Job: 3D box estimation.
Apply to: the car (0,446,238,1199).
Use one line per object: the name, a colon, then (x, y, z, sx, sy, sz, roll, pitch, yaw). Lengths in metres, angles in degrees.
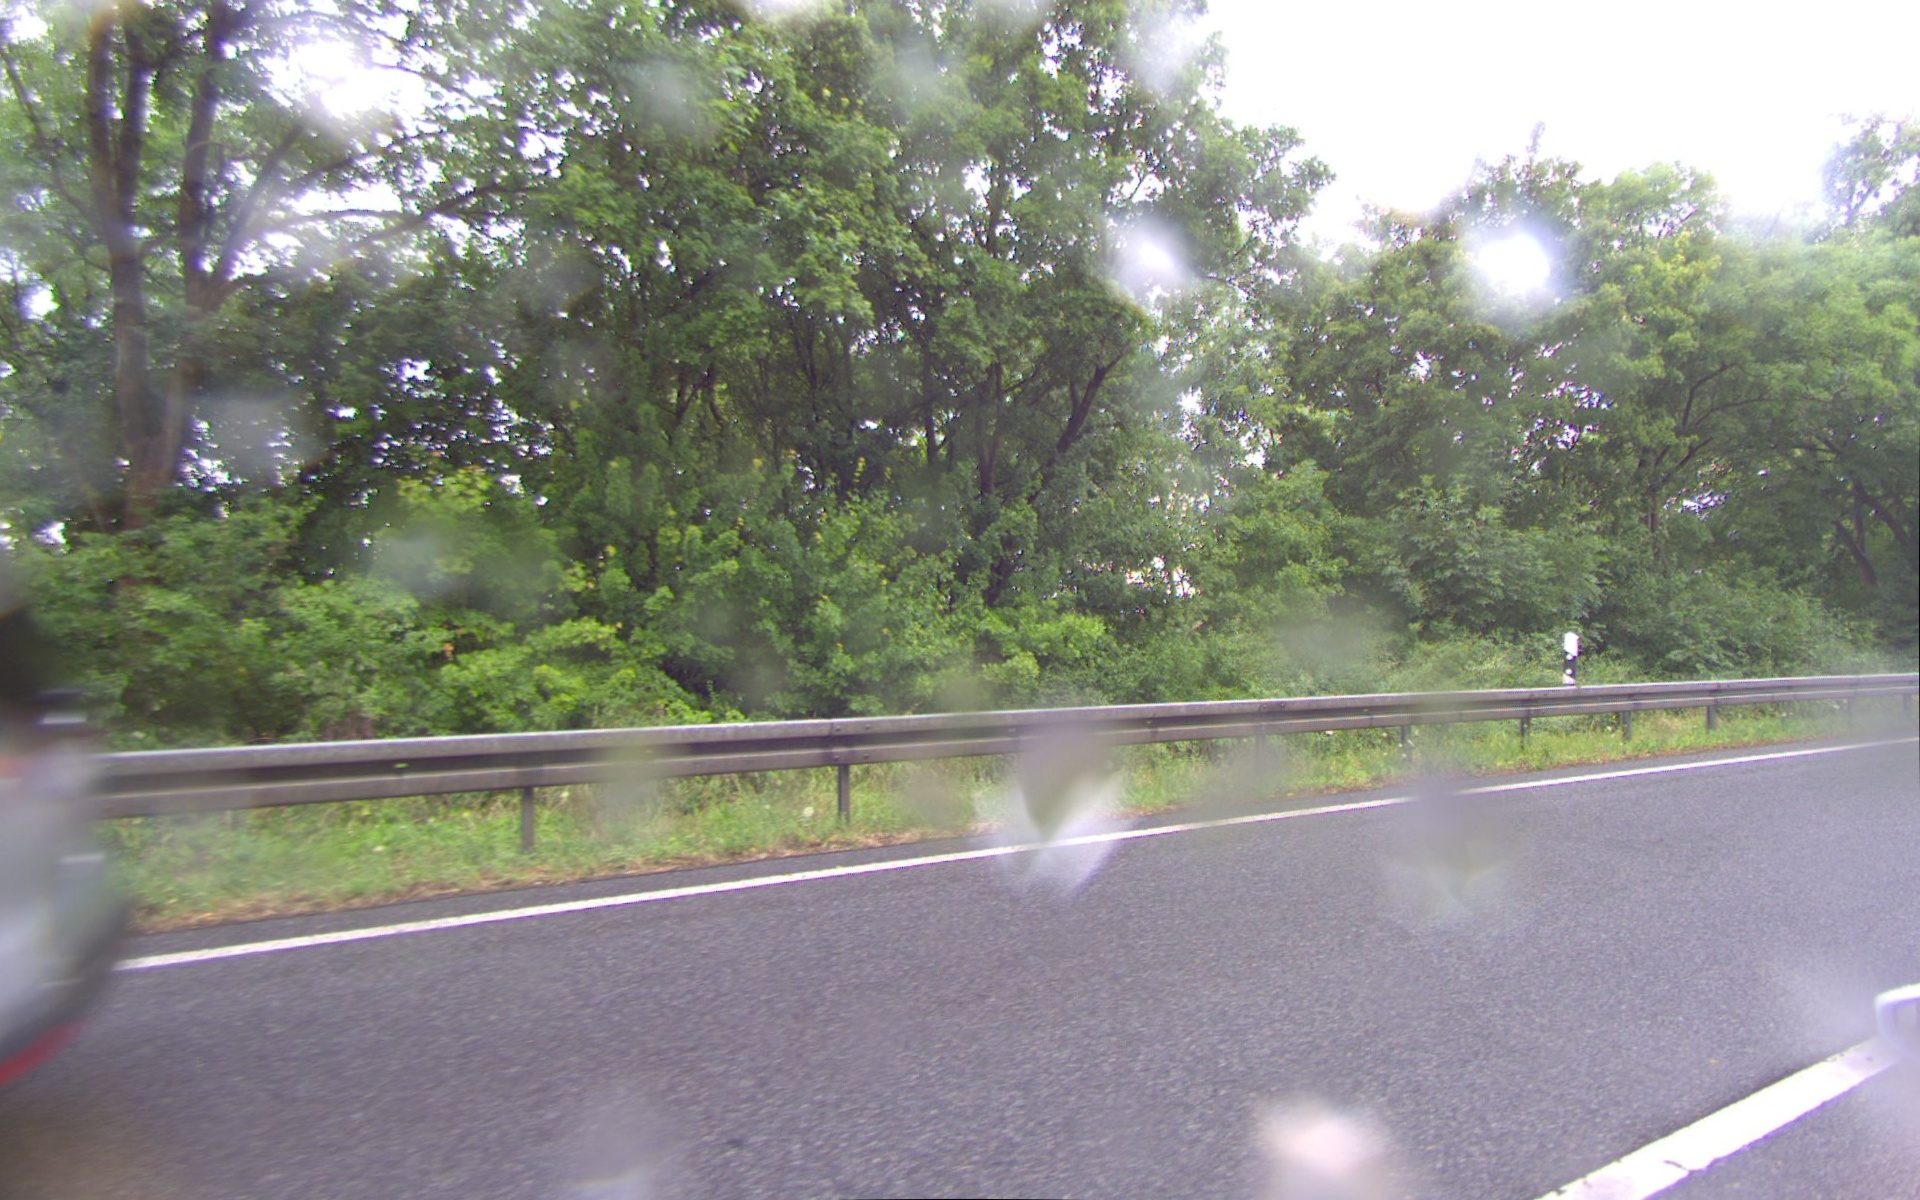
car: (-4.134, 0.481, 1.638, 4.568, 1.708, 1.806, 2, 0, -30)
